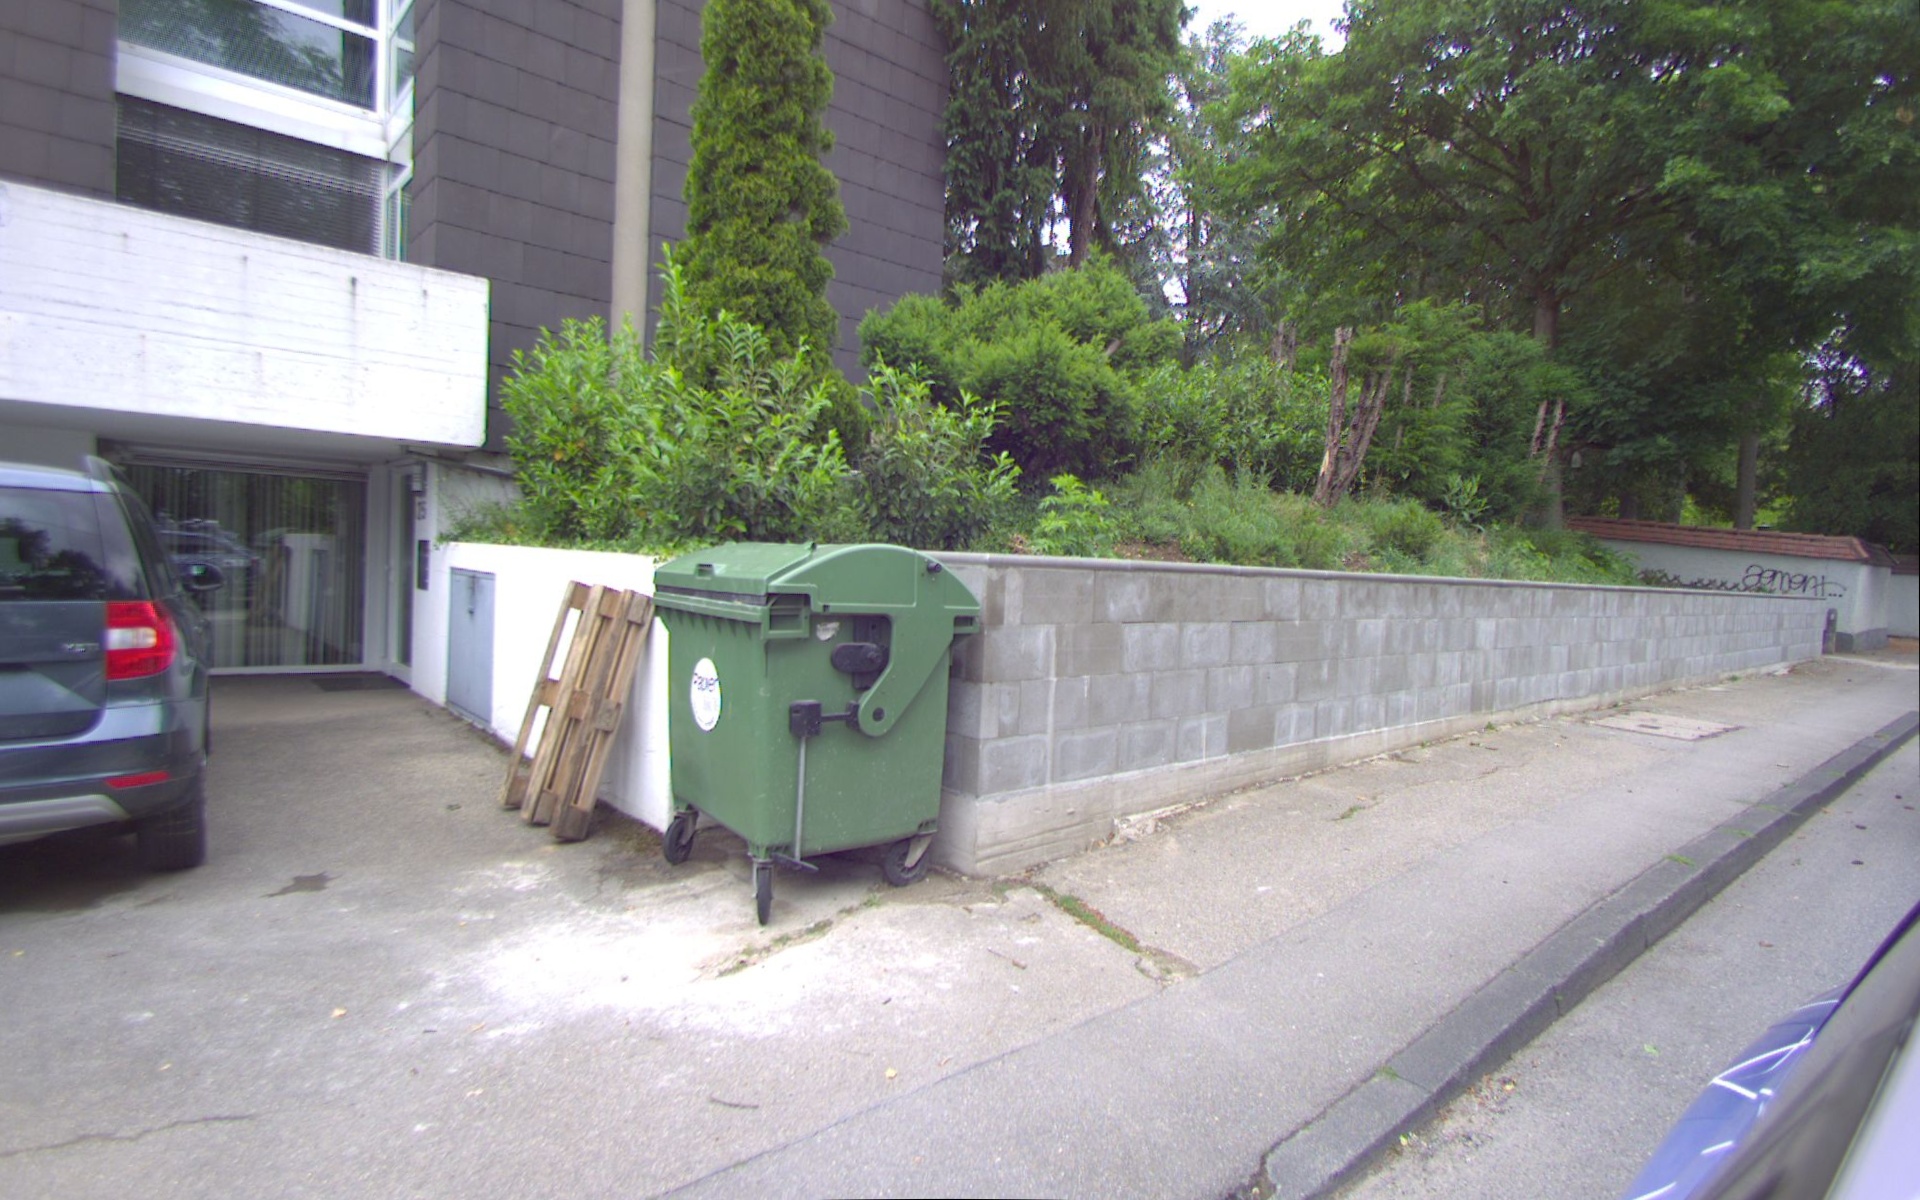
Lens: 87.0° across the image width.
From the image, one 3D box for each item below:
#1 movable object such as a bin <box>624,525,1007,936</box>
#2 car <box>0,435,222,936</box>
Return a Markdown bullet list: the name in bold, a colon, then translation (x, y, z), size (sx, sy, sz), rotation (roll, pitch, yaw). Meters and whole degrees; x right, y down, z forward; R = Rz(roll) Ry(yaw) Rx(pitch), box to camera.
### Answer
- **movable object such as a bin**: translation (-0.682, 0.427, 4.498), size (1.096, 1.469, 1.407), rotation (-1, 3, -40)
- **car**: translation (-4.547, 0.168, 4.774), size (1.712, 1.671, 3.914), rotation (0, 4, -36)
